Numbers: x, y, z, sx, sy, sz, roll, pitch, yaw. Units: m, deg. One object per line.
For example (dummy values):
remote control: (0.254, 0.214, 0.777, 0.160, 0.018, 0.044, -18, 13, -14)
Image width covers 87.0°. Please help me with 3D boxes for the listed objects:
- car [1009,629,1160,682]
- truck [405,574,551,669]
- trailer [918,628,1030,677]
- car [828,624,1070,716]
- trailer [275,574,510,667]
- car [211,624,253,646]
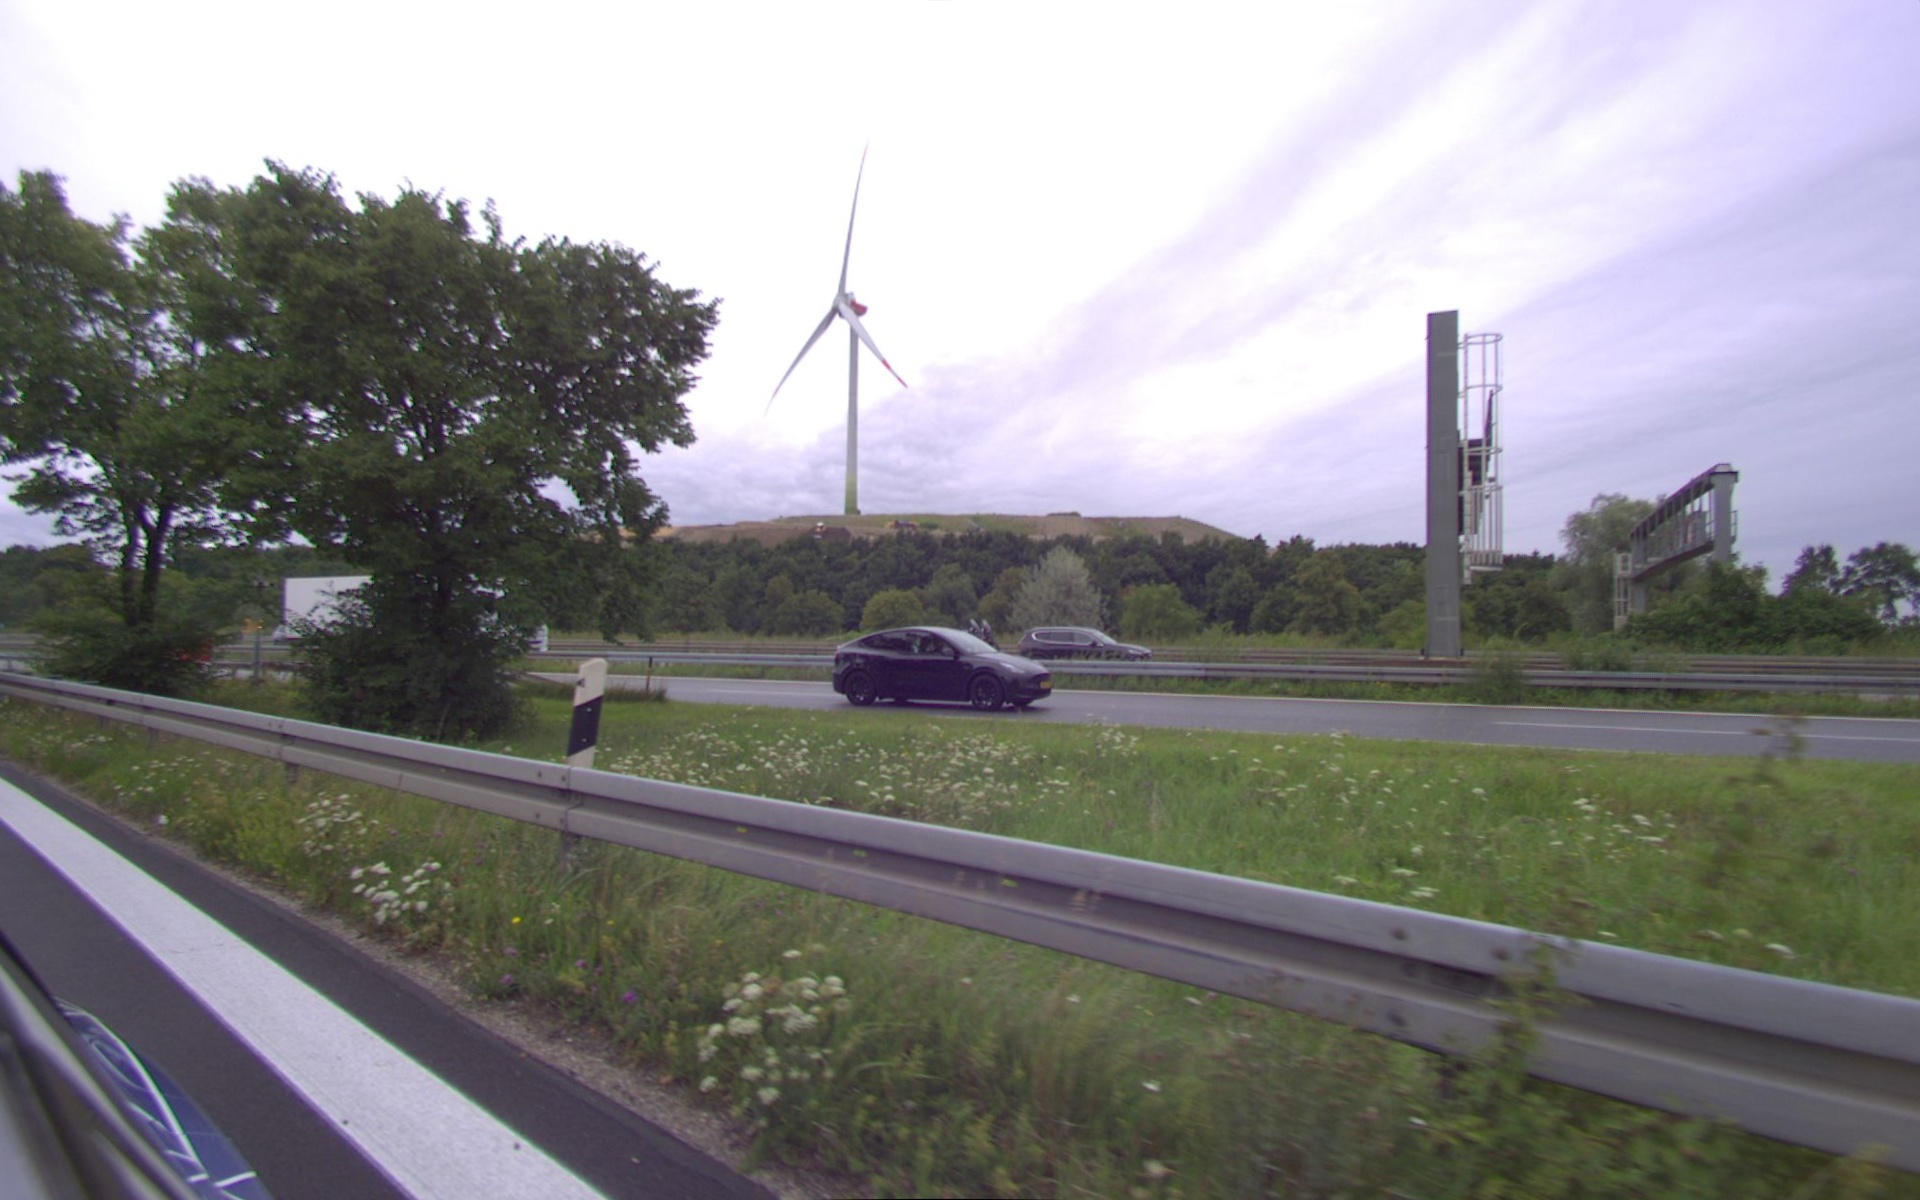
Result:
car: (4.216, 1.832, 34.425, 4.782, 1.638, 1.871, 0, -1, 27)
truck: (-22.410, 1.016, 47.057, 6.411, 4.167, 2.750, -1, -2, 26)
trailer: (0.508, 1.854, 36.293, 3.592, 1.638, 1.871, 0, -1, 26)
car: (-0.232, 1.329, 20.432, 4.531, 1.650, 1.950, 0, -1, 27)
trailer: (-28.210, 1.049, 49.936, 13.877, 4.167, 2.750, -1, -2, 26)
car: (-79.805, 3.832, 110.936, 3.978, 2.394, 2.011, -1, -2, 26)
